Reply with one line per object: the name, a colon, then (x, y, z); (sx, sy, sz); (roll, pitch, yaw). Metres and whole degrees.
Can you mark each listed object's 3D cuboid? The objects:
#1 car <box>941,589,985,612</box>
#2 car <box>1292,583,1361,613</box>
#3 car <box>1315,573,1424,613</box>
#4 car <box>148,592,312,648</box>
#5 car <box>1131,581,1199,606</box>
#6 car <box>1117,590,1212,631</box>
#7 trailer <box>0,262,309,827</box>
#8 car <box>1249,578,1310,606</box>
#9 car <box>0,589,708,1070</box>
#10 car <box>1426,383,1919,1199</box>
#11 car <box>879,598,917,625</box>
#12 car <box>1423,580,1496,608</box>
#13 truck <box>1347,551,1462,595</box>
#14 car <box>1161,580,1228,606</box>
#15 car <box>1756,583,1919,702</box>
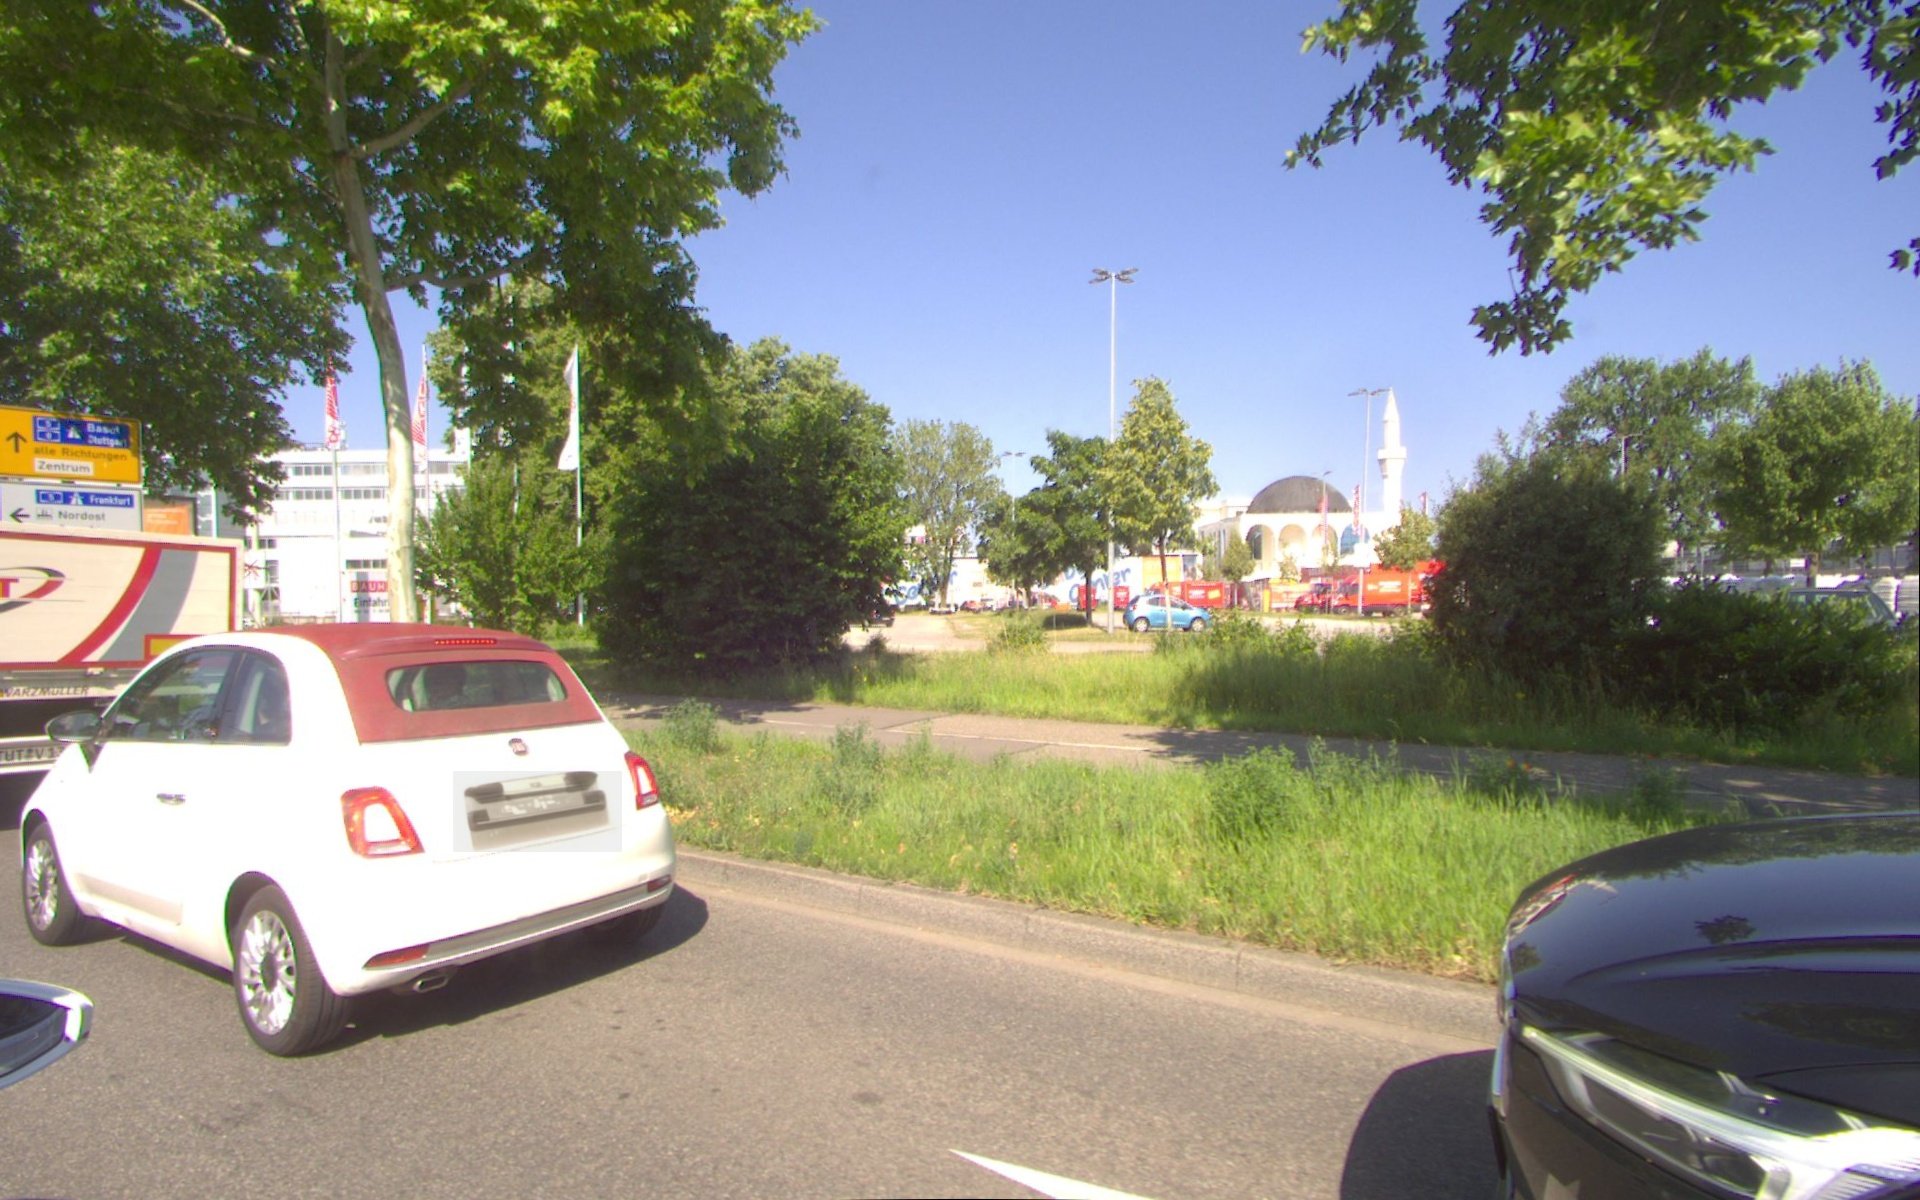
car: (0.240, 0.071, 92.606); (3.923, 2.040, 2.000); (0, -1, -6)
car: (23.865, -0.108, 65.365); (3.924, 1.884, 1.999); (-1, -1, 10)
car: (25.169, -0.391, 61.644); (5.822, 2.371, 2.115); (0, -1, 1)
car: (-23.335, 0.646, 32.137); (1.702, 1.683, 3.972); (-1, -2, 38)
car: (17.093, -0.526, 83.687); (5.188, 2.040, 2.000); (0, -1, -4)
car: (8.173, 0.424, 40.198); (3.387, 1.591, 1.745); (0, -1, -2)
trailer: (-11.257, -0.253, 10.371); (12.069, 3.789, 3.010); (-1, -1, 33)
car: (23.876, -0.596, 74.931); (3.922, 2.040, 2.001); (0, -1, 2)
car: (-3.002, 0.743, 4.711); (3.472, 1.455, 1.657); (-1, -1, 34)
car: (2.970, 0.594, 0.825); (4.500, 1.643, 1.916); (-1, -1, 32)
car: (-3.663, 0.722, 58.835); (1.743, 1.534, 3.723); (0, -1, -12)
car: (36.697, -0.432, 73.626); (4.304, 2.040, 2.000); (0, -1, -3)
truck: (34.501, -2.091, 77.835); (8.068, 3.290, 2.000); (0, -1, -2)
car: (18.242, -0.539, 77.930); (4.824, 1.906, 1.770); (0, -1, 2)
car: (14.338, 0.651, 16.231); (1.694, 1.718, 3.544); (-1, -1, 29)
